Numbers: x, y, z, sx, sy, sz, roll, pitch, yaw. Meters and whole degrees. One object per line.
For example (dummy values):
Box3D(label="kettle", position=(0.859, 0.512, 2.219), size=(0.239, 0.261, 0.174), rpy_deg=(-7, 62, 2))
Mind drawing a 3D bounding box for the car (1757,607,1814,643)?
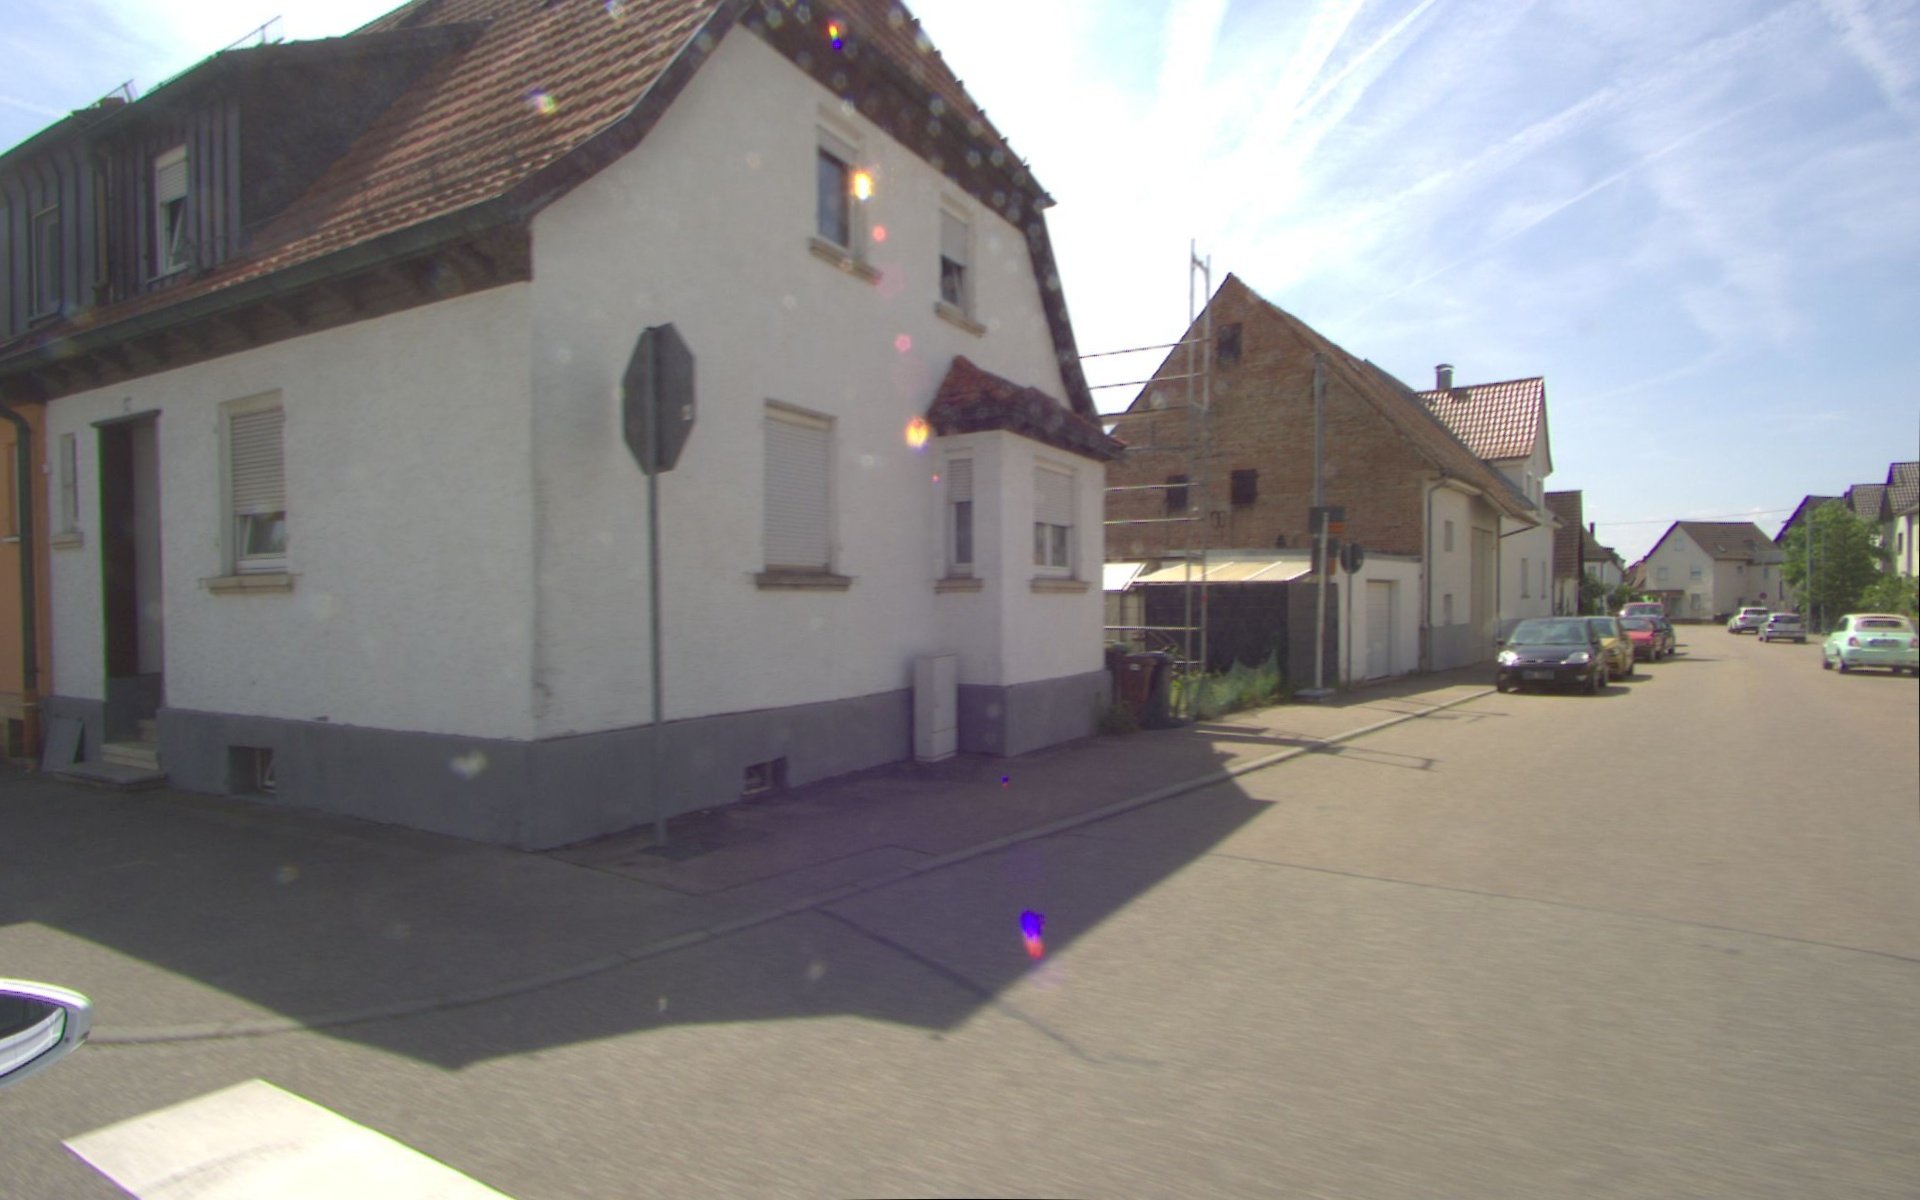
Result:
Box3D(label="car", position=(41.628, 1.239, 50.589), size=(1.821, 1.770, 3.977), rpy_deg=(-1, -1, 34))

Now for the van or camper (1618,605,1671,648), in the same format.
Box3D(label="van or camper", position=(31.590, 1.187, 46.148), size=(1.851, 1.902, 4.372), rpy_deg=(-1, -1, 37))

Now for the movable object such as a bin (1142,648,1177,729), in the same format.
Box3D(label="movable object such as a bin", position=(2.571, 1.125, 12.891), size=(0.285, 1.005, 0.584), rpy_deg=(-1, -1, 28))

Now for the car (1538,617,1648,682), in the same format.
Box3D(label="car", position=(15.215, 1.120, 23.983), size=(1.683, 1.409, 3.968), rpy_deg=(-1, -1, 40))

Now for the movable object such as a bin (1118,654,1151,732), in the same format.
Box3D(label="movable object such as a bin", position=(2.198, 1.167, 12.593), size=(0.354, 0.958, 0.227), rpy_deg=(-1, -1, 26))

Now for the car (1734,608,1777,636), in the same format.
Box3D(label="car", position=(51.047, 1.401, 64.294), size=(1.821, 1.770, 3.977), rpy_deg=(-1, -1, 34))

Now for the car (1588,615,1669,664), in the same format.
Box3D(label="car", position=(21.210, 1.204, 31.706), size=(1.683, 1.409, 3.968), rpy_deg=(-1, -1, 40))

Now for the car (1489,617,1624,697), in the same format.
Box3D(label="car", position=(12.001, 1.067, 20.033), size=(1.683, 1.409, 3.968), rpy_deg=(-1, -1, 40))

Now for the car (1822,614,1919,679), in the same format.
Box3D(label="car", position=(23.516, 1.139, 25.679), size=(1.736, 1.500, 3.974), rpy_deg=(1, 0, 36))
